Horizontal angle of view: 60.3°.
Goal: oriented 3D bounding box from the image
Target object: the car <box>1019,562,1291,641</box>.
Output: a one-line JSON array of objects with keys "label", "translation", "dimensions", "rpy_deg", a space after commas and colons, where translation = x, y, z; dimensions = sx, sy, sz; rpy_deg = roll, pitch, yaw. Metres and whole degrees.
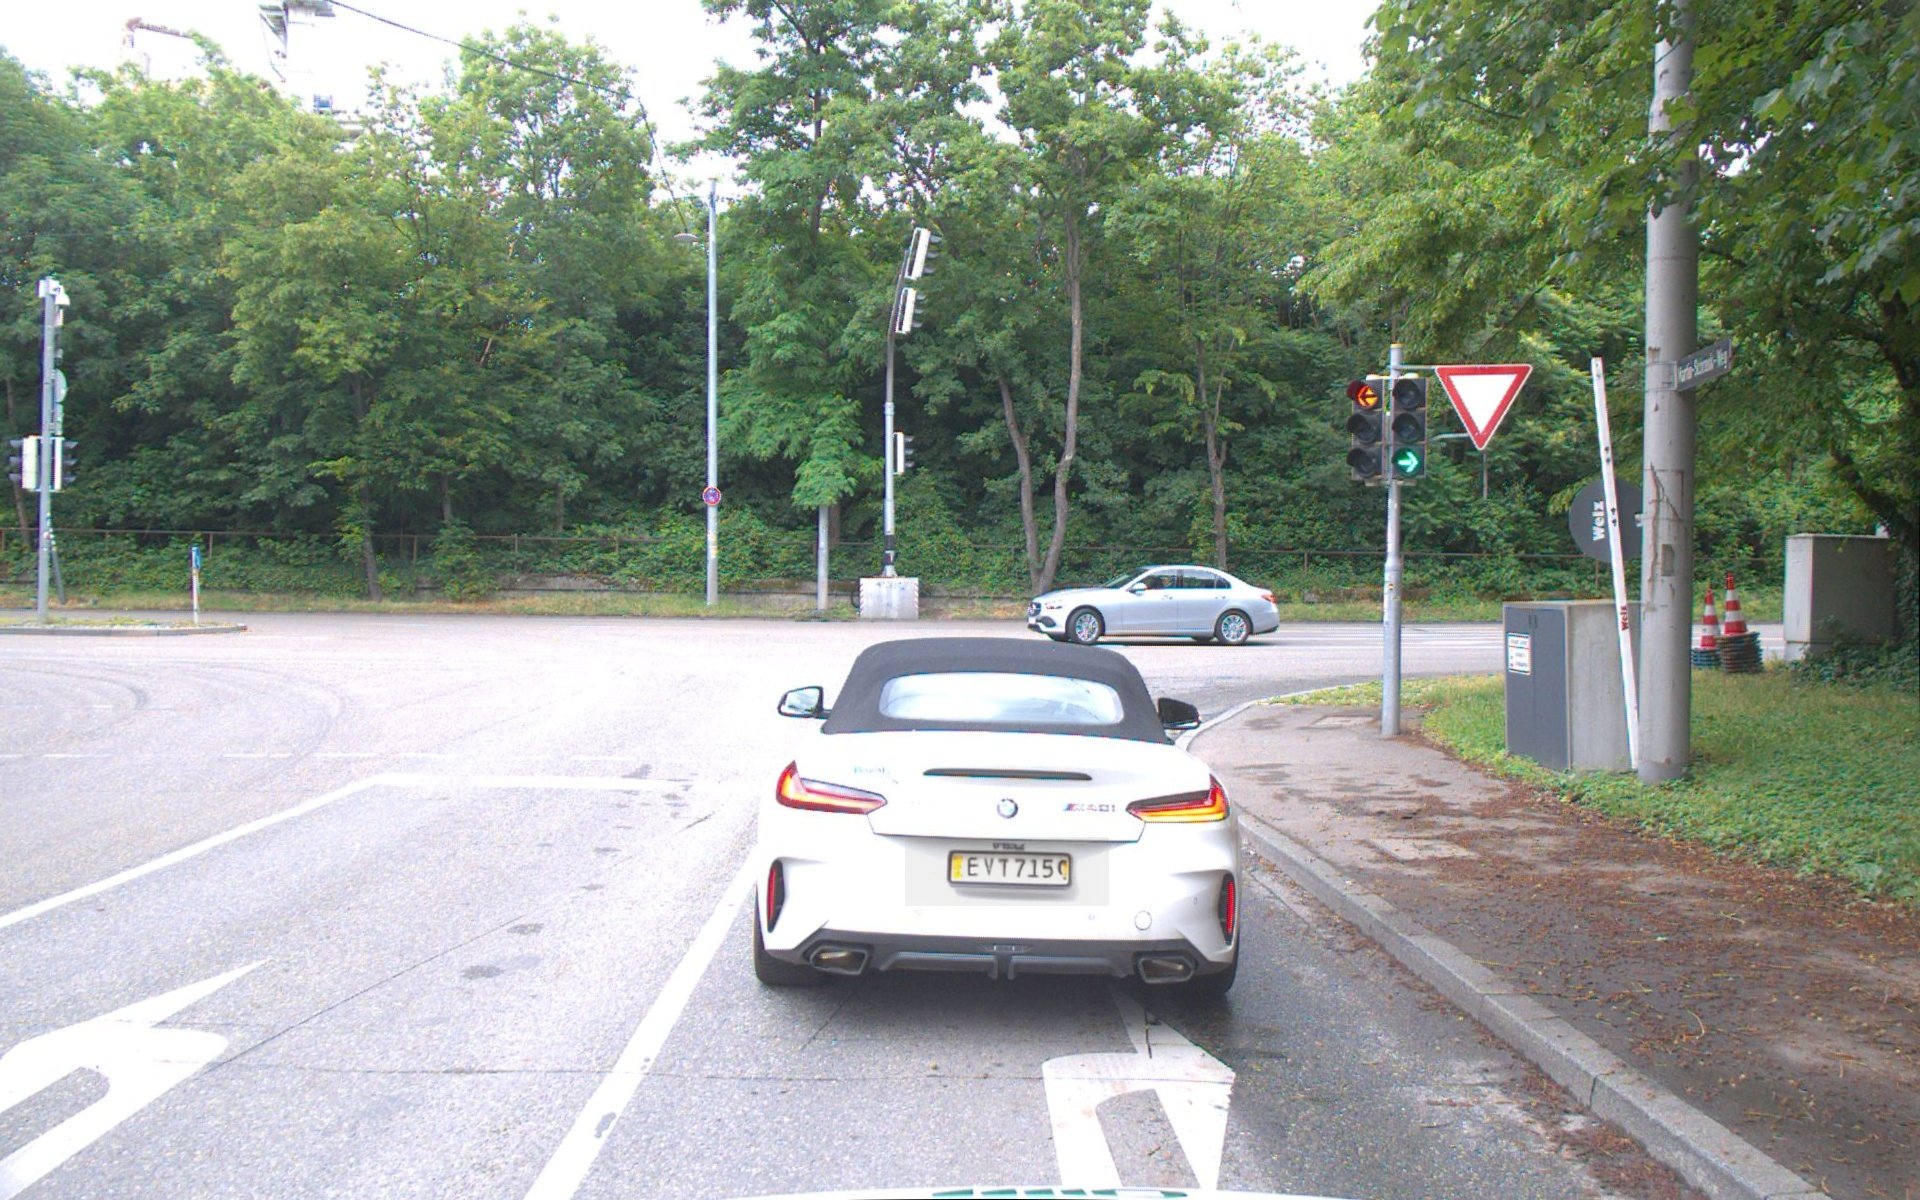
[{"label": "car", "translation": [3.560, 0.024, 30.525], "dimensions": [4.666, 1.356, 1.829], "rpy_deg": [0, 2, -11]}]

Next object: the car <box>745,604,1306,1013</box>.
[{"label": "car", "translation": [0.126, 0.729, 7.344], "dimensions": [1.791, 1.279, 3.997], "rpy_deg": [2, -2, -3]}]
